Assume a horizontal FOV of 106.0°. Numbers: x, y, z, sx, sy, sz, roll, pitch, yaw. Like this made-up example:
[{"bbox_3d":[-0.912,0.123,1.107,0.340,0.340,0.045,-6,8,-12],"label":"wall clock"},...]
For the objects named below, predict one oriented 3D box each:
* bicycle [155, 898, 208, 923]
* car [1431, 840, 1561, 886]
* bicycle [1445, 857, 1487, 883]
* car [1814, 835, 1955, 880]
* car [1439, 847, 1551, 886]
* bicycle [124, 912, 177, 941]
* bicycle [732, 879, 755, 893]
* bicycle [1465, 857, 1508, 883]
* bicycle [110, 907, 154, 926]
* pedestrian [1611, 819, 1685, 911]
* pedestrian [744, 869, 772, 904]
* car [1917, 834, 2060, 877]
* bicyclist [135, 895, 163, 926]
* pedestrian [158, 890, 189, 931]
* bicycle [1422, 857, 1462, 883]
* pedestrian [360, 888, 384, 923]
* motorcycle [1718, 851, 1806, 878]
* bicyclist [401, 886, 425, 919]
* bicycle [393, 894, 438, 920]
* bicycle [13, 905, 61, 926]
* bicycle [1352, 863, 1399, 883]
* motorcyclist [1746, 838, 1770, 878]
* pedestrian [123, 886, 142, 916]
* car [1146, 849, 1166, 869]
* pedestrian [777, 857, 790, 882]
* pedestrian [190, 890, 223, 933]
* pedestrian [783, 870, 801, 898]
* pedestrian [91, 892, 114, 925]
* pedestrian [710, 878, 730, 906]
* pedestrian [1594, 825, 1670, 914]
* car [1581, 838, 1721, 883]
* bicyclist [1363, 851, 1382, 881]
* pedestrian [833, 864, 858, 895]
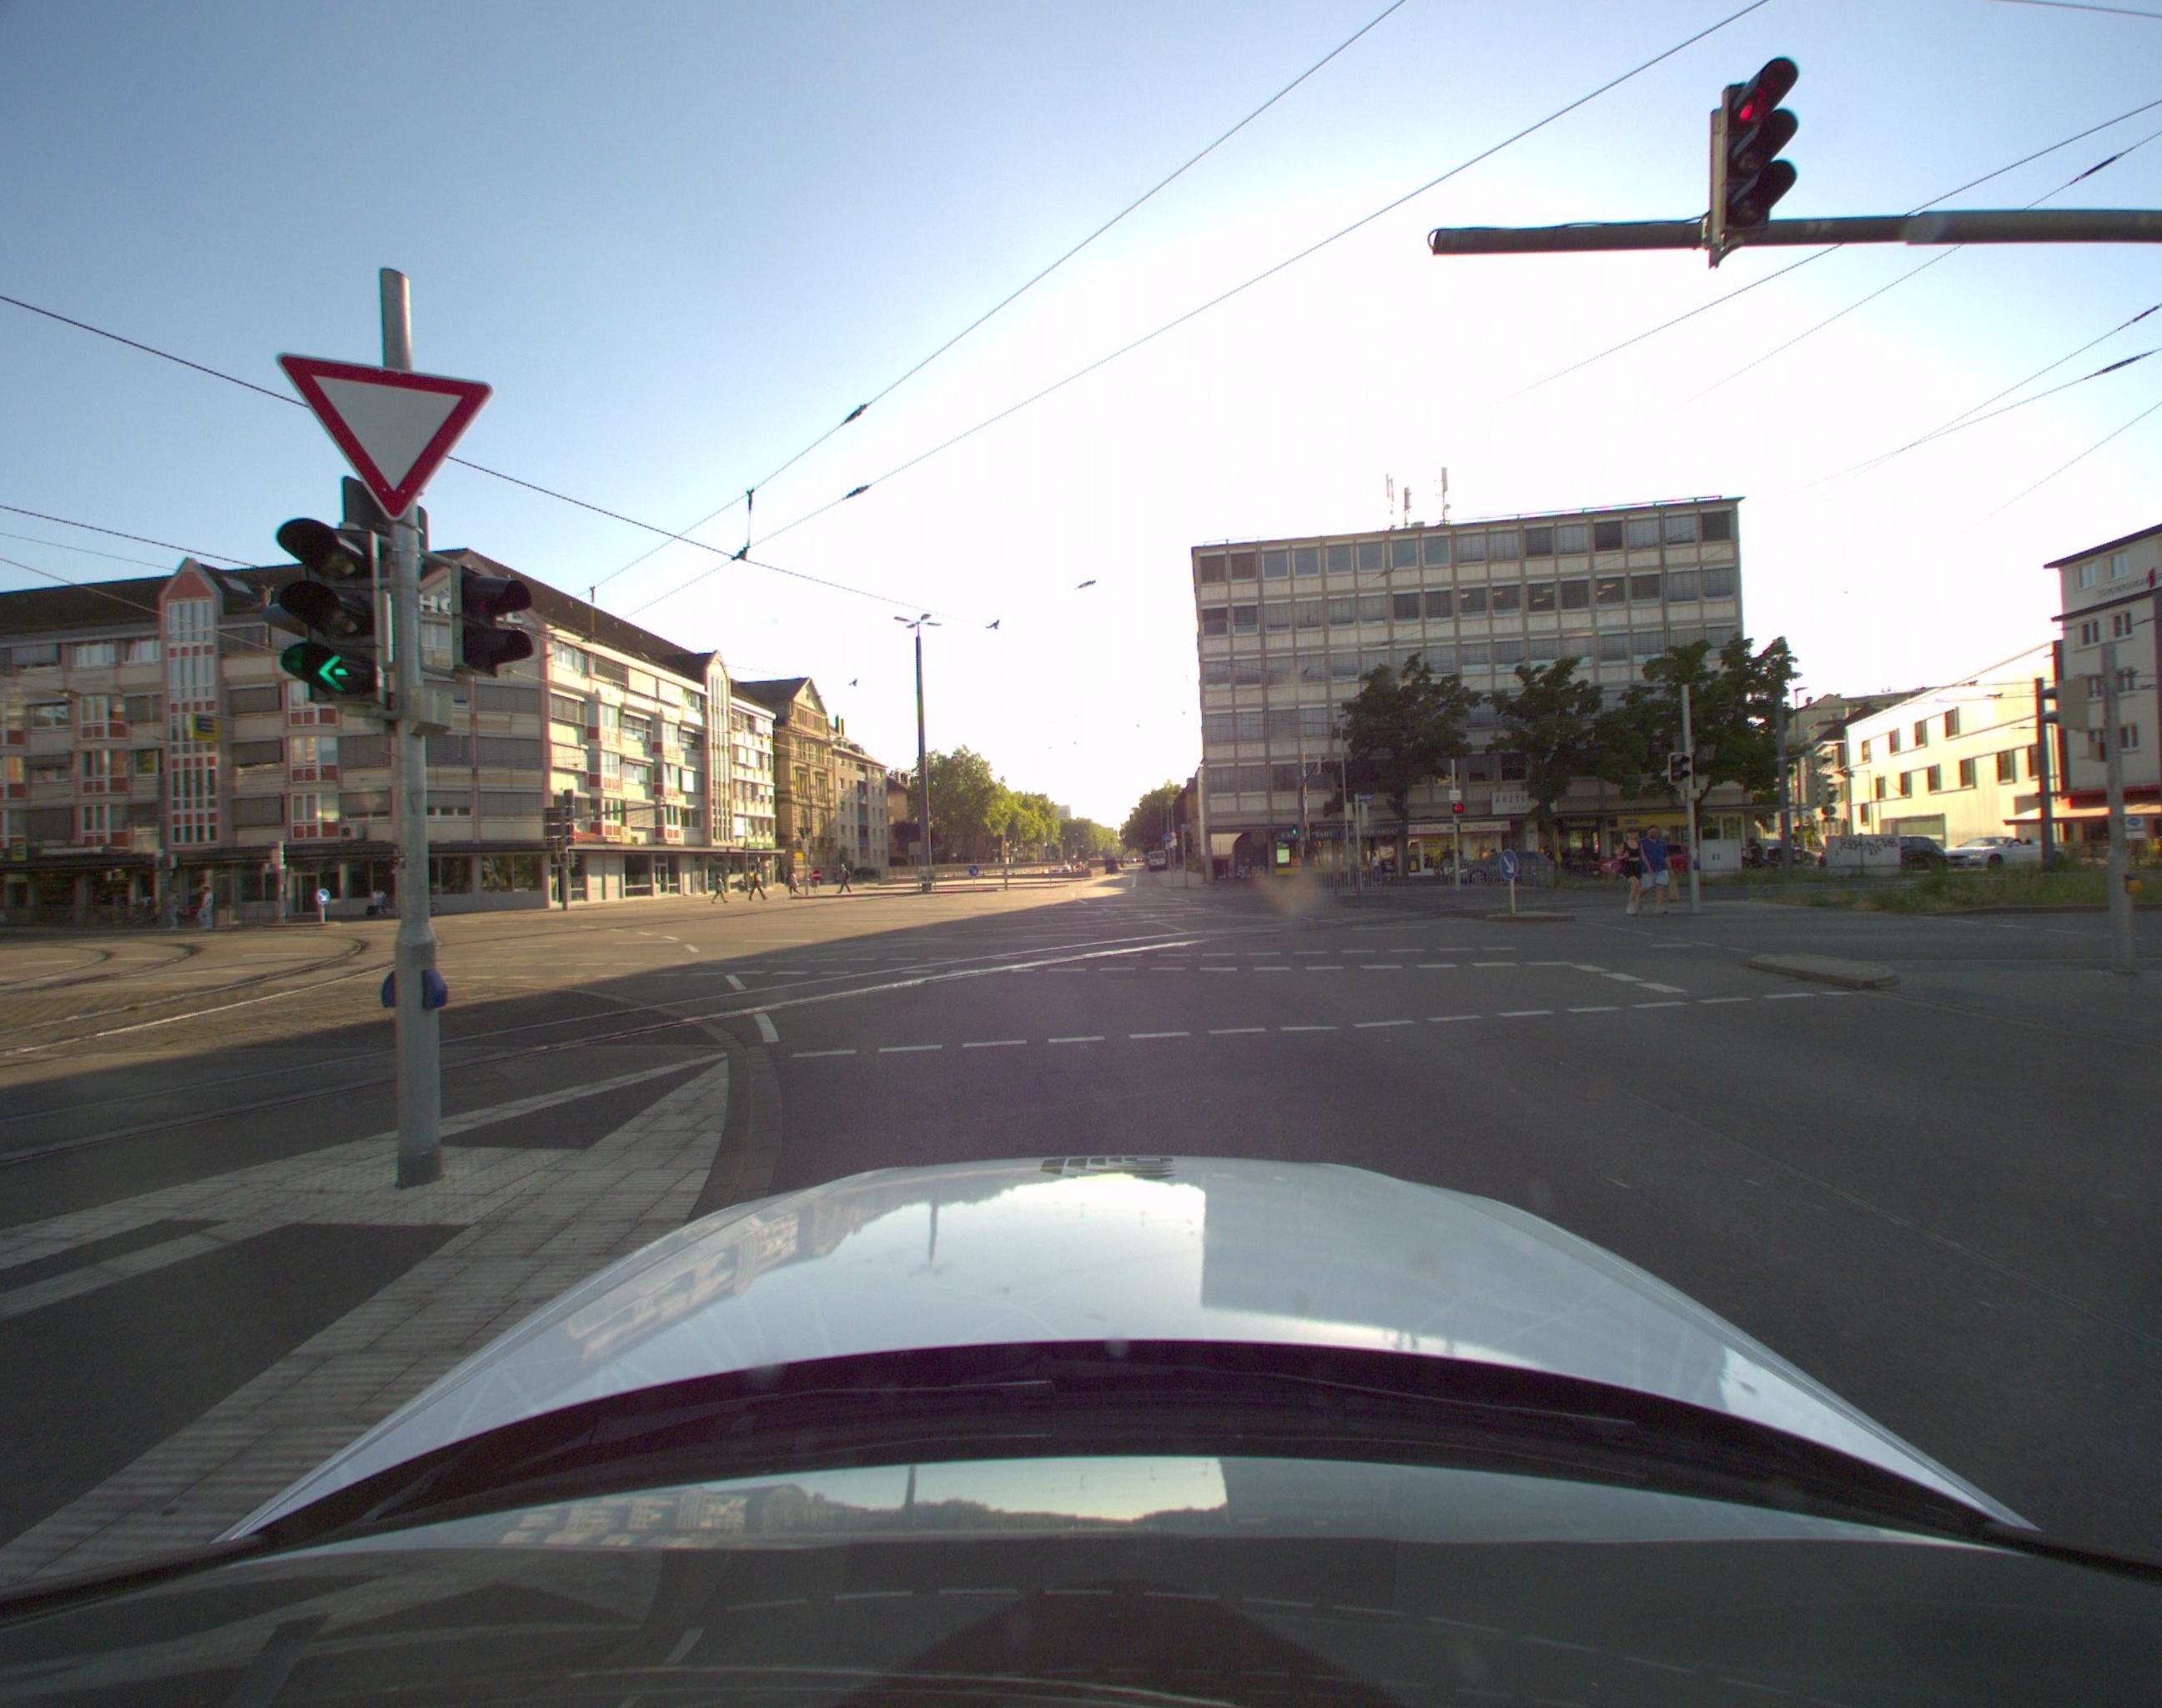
[{"bbox_3d":[-48.371,3.036,43.812,2.311,1.227,0.731,-2,-1,9],"label":"bicycle"},{"bbox_3d":[15.432,0.353,30.481,3.964,1.618,1.848,-1,-1,8],"label":"car"},{"bbox_3d":[19.167,0.793,40.600,0.747,1.143,2.639,-1,2,-2],"label":"bicycle"},{"bbox_3d":[30.084,0.126,30.541,3.988,1.618,1.837,0,-1,-11],"label":"car"},{"bbox_3d":[18.158,0.554,35.884,4.044,1.618,1.848,-1,-1,8],"label":"car"},{"bbox_3d":[-46.254,3.588,40.489,2.078,1.366,0.585,-1,1,4],"label":"bicycle"},{"bbox_3d":[-27.891,2.655,67.302,0.447,1.071,2.102,-1,-1,21],"label":"bicycle"},{"bbox_3d":[20.200,0.782,40.600,0.747,1.143,2.639,-1,2,-2],"label":"bicycle"},{"bbox_3d":[-51.361,3.379,44.073,2.059,0.917,0.502,-2,-1,9],"label":"bicycle"},{"bbox_3d":[11.484,0.227,16.509,0.700,1.793,1.031,0,-1,-34],"label":"pedestrian"},{"bbox_3d":[-18.193,1.836,45.840,1.191,1.883,0.856,-1,2,-1],"label":"pedestrian"},{"bbox_3d":[35.261,0.057,31.678,3.986,1.618,1.838,0,-1,-9],"label":"car"},{"bbox_3d":[-46.312,2.808,40.474,0.732,1.481,0.567,-1,1,5],"label":"bicyclist"},{"bbox_3d":[-39.034,2.420,35.051,0.625,1.694,0.860,0,-1,-28],"label":"pedestrian"},{"bbox_3d":[17.974,0.796,40.617,0.747,1.143,2.639,-1,2,-2],"label":"bicycle"},{"bbox_3d":[-35.574,2.574,40.870,0.717,1.662,0.629,-2,-1,-20],"label":"pedestrian"},{"bbox_3d":[25.637,0.399,30.690,2.647,1.001,0.536,-1,-1,8],"label":"motorcycle"},{"bbox_3d":[-33.813,2.463,41.225,0.635,1.596,0.659,-1,2,7],"label":"bicyclist"},{"bbox_3d":[-33.794,2.685,41.389,0.635,1.145,1.773,-1,2,7],"label":"bicycle"},{"bbox_3d":[-58.964,3.468,46.003,0.480,1.119,1.651,-1,-1,4],"label":"bicycle"},{"bbox_3d":[14.354,0.941,39.719,2.016,0.940,0.671,-1,-1,2],"label":"bicycle"},{"bbox_3d":[25.525,0.144,30.705,0.458,1.509,0.536,-1,-1,8],"label":"motorcyclist"},{"bbox_3d":[-52.537,2.576,45.105,0.614,1.635,0.596,0,-1,-41],"label":"pedestrian"},{"bbox_3d":[8.887,0.595,95.821,2.274,2.172,4.840,-1,-1,5],"label":"car"},{"bbox_3d":[-29.039,1.538,79.503,0.925,2.398,0.958,0,-1,-7],"label":"pedestrian"},{"bbox_3d":[-37.283,2.423,34.739,0.510,1.764,1.000,0,-1,-16],"label":"pedestrian"},{"bbox_3d":[-15.822,1.644,44.591,0.858,1.465,0.680,0,-6,-26],"label":"pedestrian"},{"bbox_3d":[-55.086,3.070,45.865,0.597,1.852,0.613,-1,-1,13],"label":"pedestrian"},{"bbox_3d":[-19.282,1.999,43.512,0.702,1.453,0.856,-1,-1,-1],"label":"pedestrian"},{"bbox_3d":[10.876,0.306,16.085,0.700,1.682,1.031,0,-1,-34],"label":"pedestrian"},{"bbox_3d":[21.629,0.256,31.035,3.964,1.618,1.848,-1,-1,8],"label":"car"},{"bbox_3d":[14.205,0.592,39.736,0.676,1.424,0.671,-1,-1,3],"label":"bicyclist"},{"bbox_3d":[-13.590,1.476,47.084,1.191,1.731,0.856,-1,-1,-1],"label":"pedestrian"}]
